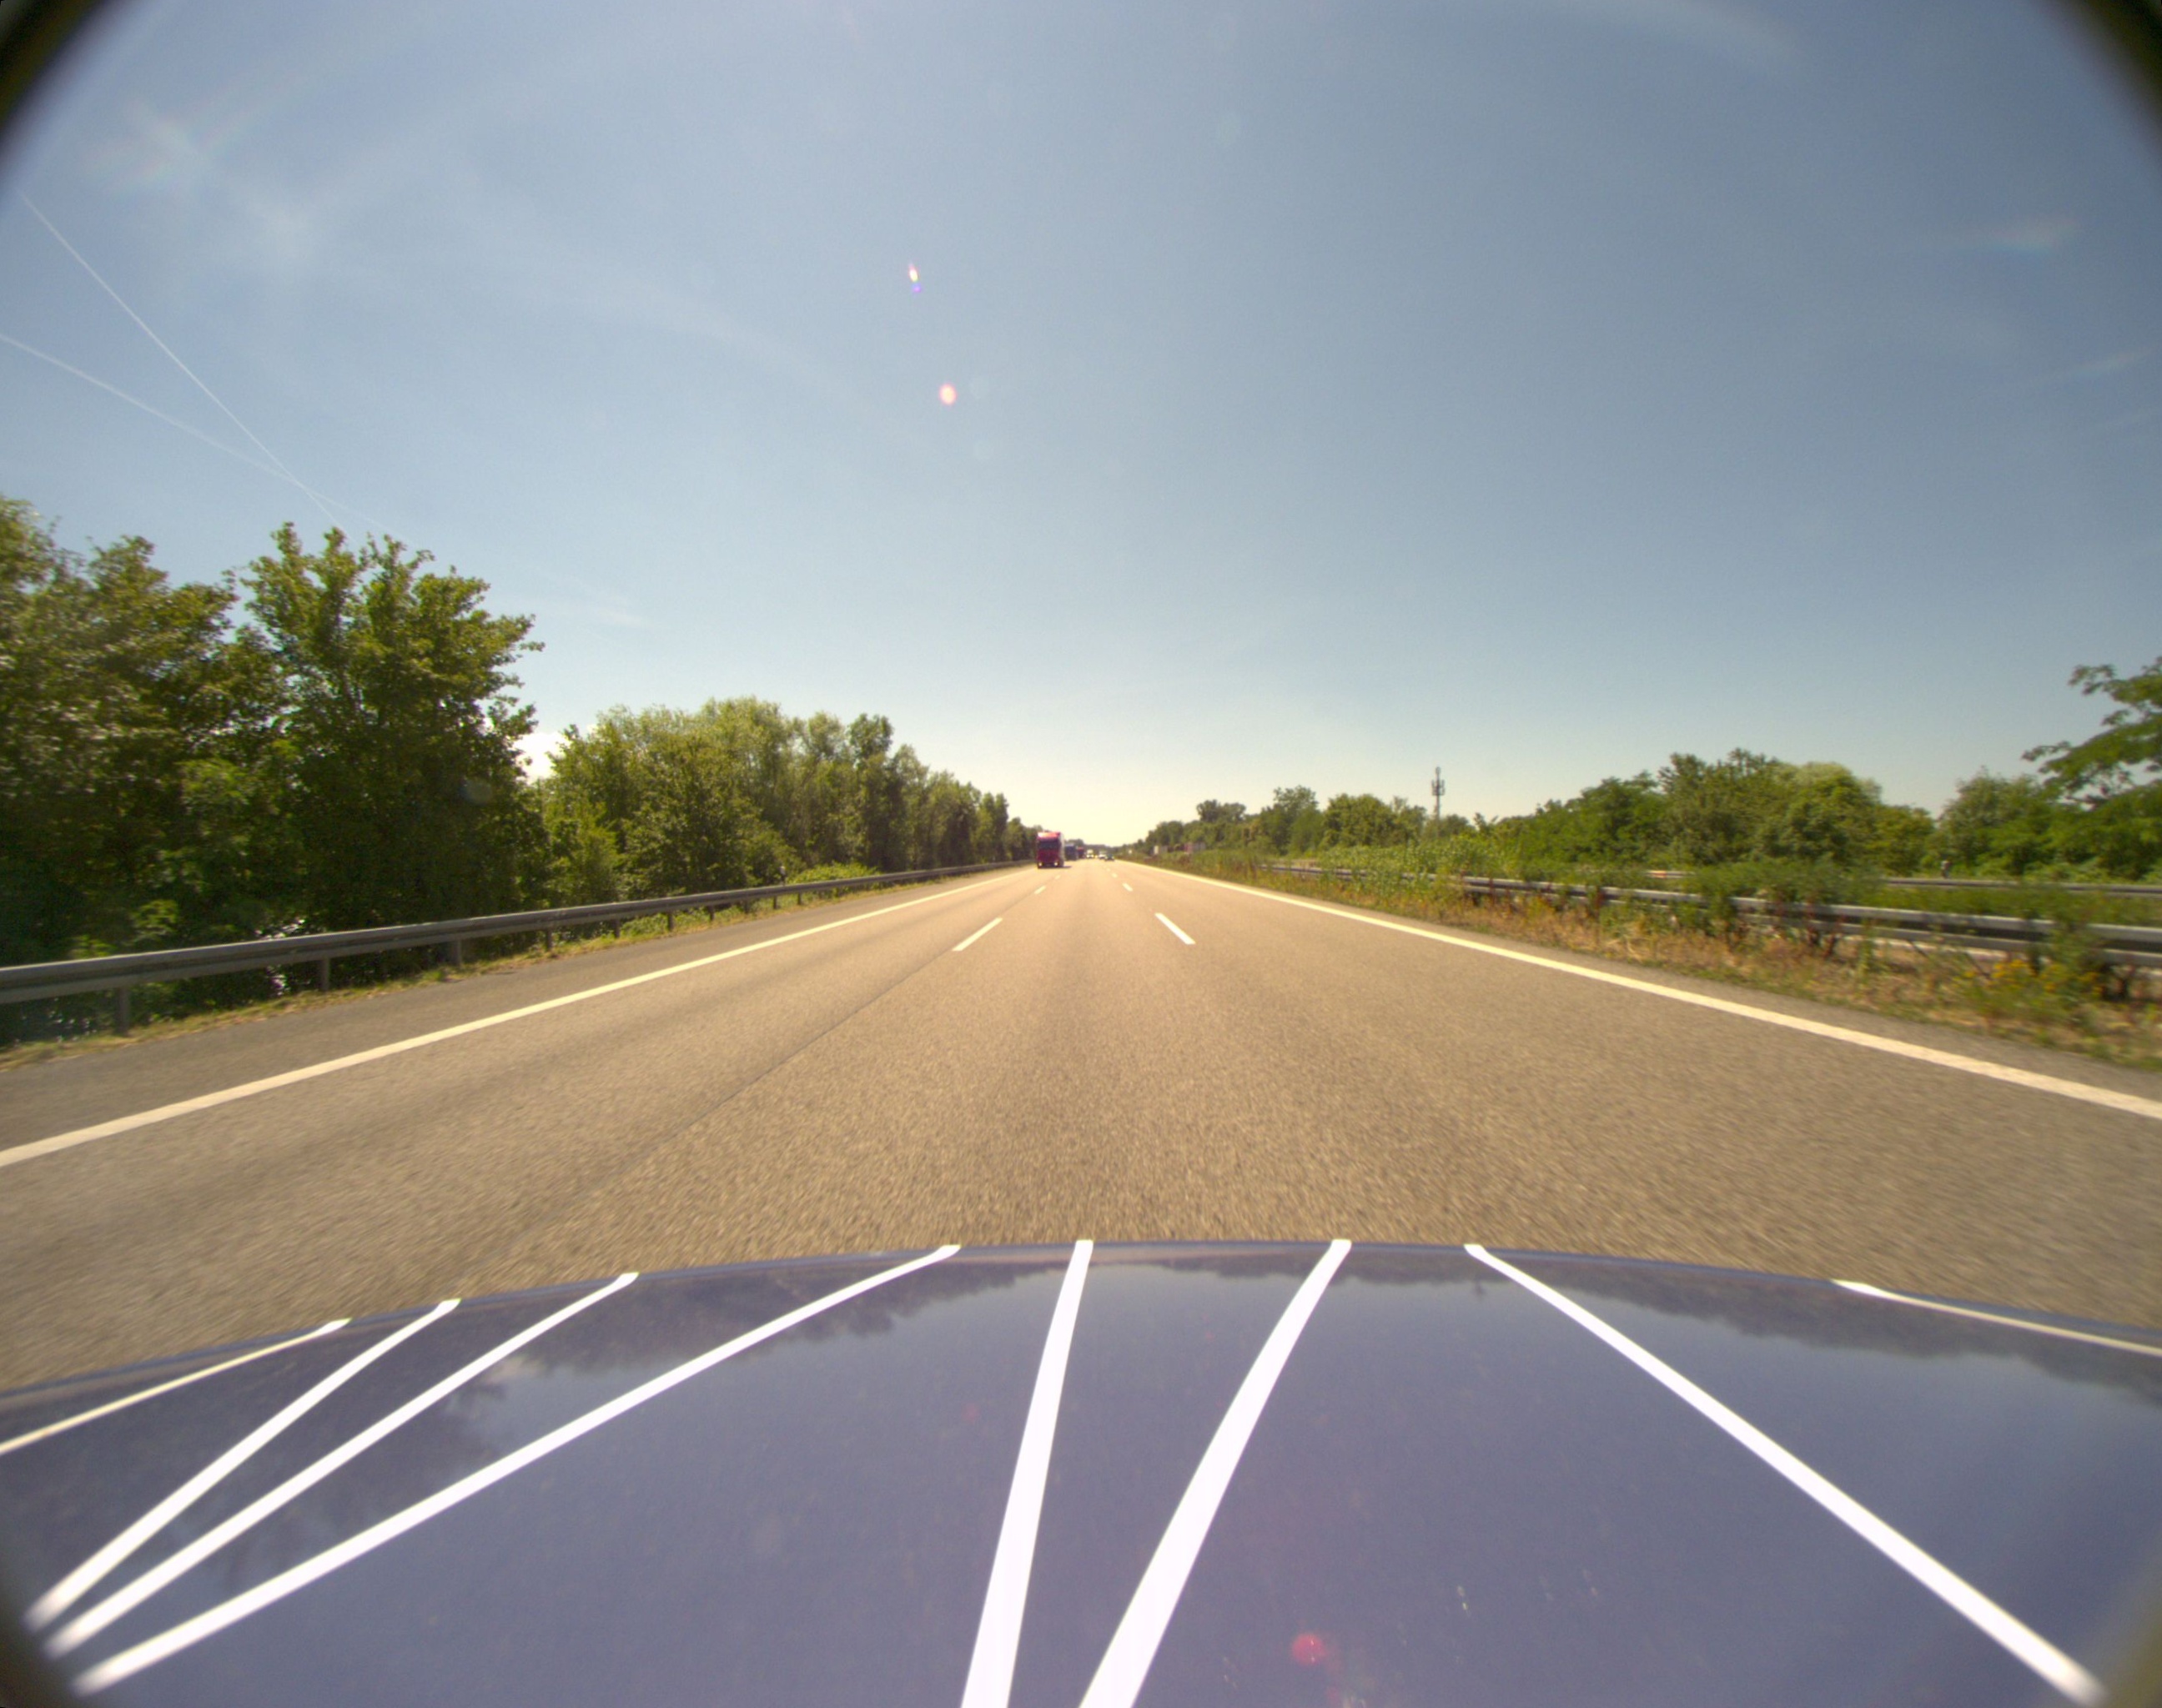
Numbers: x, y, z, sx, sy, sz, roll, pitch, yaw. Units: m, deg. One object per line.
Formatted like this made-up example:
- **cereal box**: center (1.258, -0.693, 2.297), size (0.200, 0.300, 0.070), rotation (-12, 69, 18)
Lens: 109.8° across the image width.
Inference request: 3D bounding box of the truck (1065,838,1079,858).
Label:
- **truck**: center (-1.998, -1.364, 179.291), size (2.938, 4.429, 10.259), rotation (-2, 0, 1)

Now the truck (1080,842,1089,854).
- **truck**: center (1.130, -2.009, 263.689), size (2.938, 3.934, 10.259), rotation (-2, 0, 1)

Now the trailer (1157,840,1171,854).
- **trailer**: center (24.904, -1.979, 228.610), size (2.939, 3.952, 12.320), rotation (-2, 0, 1)

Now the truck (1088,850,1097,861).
- **truck**: center (3.701, 0.355, 239.151), size (2.726, 3.391, 9.769), rotation (-2, 0, 1)

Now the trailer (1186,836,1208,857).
- **trailer**: center (23.808, -1.497, 156.119), size (2.939, 3.952, 10.628), rotation (-2, 0, 2)

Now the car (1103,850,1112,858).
- **car**: center (6.572, -0.057, 185.619), size (1.998, 2.002, 4.755), rotation (-2, 0, 1)

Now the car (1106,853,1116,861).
- **car**: center (5.646, 0.619, 143.148), size (1.736, 1.434, 4.000), rotation (-2, 0, 1)

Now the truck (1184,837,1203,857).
- **truck**: center (23.953, -1.505, 161.866), size (2.967, 3.953, 6.362), rotation (-2, 1, 1)

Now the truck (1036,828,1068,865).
- **truck**: center (-3.224, -0.836, 86.782), size (2.938, 3.934, 10.259), rotation (-2, 0, 1)
